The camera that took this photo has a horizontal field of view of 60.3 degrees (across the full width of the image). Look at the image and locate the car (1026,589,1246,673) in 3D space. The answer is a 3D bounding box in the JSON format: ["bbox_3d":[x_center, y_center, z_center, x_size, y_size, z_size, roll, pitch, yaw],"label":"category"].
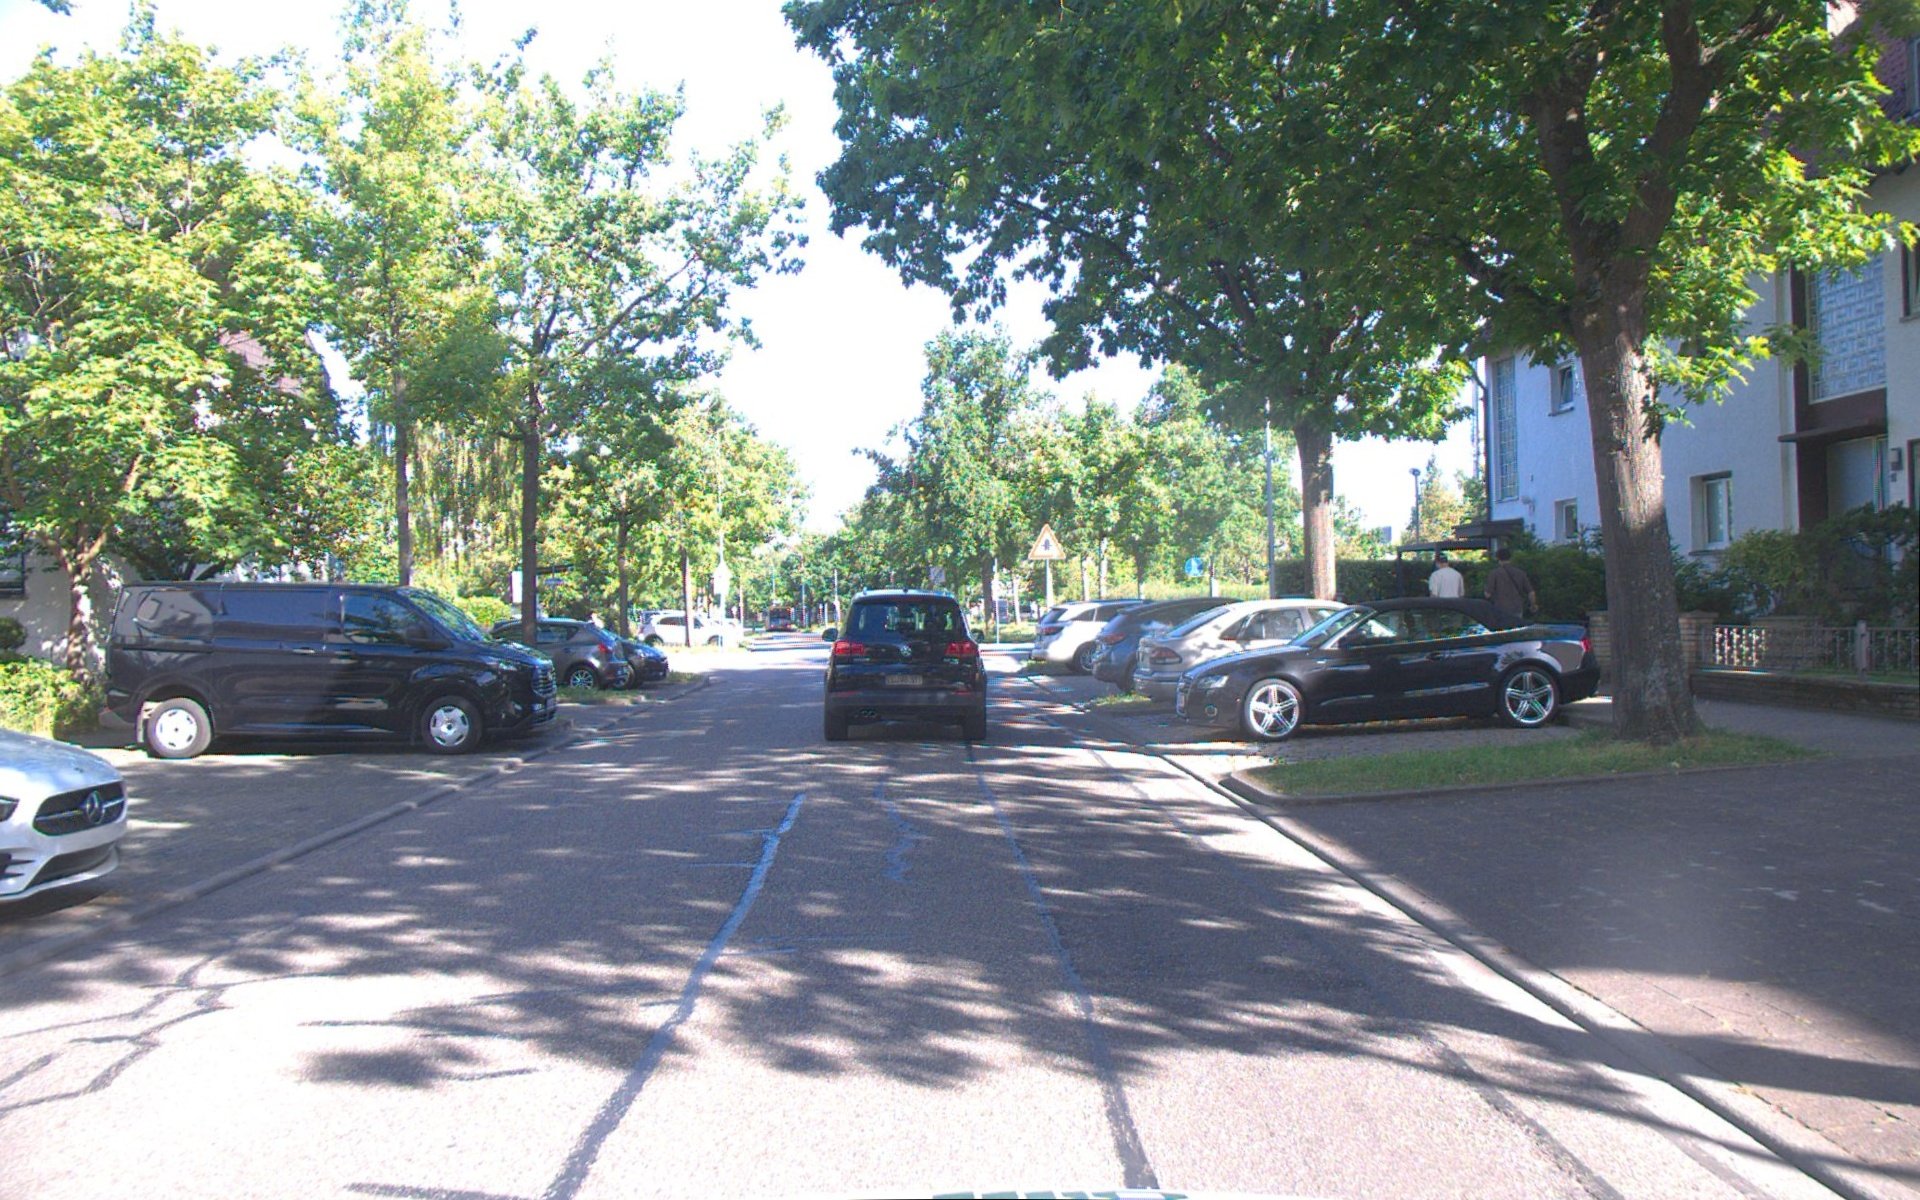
[{"bbox_3d":[3.622,0.635,34.521,4.338,1.517,1.796,-2,0,-1],"label":"car"}]

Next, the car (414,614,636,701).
[{"bbox_3d":[-8.231,1.068,31.513,3.743,1.444,1.771,-2,0,-3],"label":"car"}]

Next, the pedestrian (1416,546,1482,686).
[{"bbox_3d":[6.848,0.225,23.192,0.595,1.906,0.924,-2,-1,1],"label":"pedestrian"}]

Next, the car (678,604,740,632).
[{"bbox_3d":[-16.539,1.178,109.143,3.939,1.676,1.809,-2,0,-6],"label":"car"}]

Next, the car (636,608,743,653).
[{"bbox_3d":[-11.118,1.244,68.249,4.160,1.651,1.894,-2,0,-6],"label":"car"}]

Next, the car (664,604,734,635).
[{"bbox_3d":[-15.544,1.152,98.557,3.939,1.676,1.809,-2,0,-6],"label":"car"}]

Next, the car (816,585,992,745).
[{"bbox_3d":[-0.556,0.695,19.495,1.800,1.665,3.958,-1,0,2],"label":"car"}]

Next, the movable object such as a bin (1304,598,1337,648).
[{"bbox_3d":[7.999,0.508,36.699,0.523,1.063,0.699,-2,0,-3],"label":"movable object such as a bin"}]

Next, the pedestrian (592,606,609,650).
[{"bbox_3d":[-13.211,1.015,60.786,0.432,1.584,0.800,-2,0,-3],"label":"pedestrian"}]

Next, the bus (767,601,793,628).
[{"bbox_3d":[-21.437,1.703,197.471,2.872,3.056,5.730,-2,-1,-5],"label":"bus"}]

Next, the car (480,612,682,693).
[{"bbox_3d":[-7.870,1.084,34.596,3.779,1.484,1.713,-2,0,-1],"label":"car"}]

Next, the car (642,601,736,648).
[{"bbox_3d":[-11.998,1.072,73.416,3.939,1.872,1.894,-2,0,-6],"label":"car"}]

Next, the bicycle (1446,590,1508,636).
[{"bbox_3d":[12.710,0.311,40.661,1.654,1.072,0.526,-2,0,-34],"label":"bicycle"}]

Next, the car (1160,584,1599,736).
[{"bbox_3d":[4.467,0.628,18.063,4.258,1.386,1.873,-3,-1,-2],"label":"car"}]

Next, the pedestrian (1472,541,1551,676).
[{"bbox_3d":[7.802,0.120,23.420,0.818,1.860,0.710,-2,-1,0],"label":"pedestrian"}]

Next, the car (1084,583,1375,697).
[{"bbox_3d":[4.124,0.593,25.798,4.190,1.529,1.796,-2,0,-1],"label":"car"}]

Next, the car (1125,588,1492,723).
[{"bbox_3d":[4.296,0.662,20.838,4.190,1.439,1.796,-2,0,-1],"label":"car"}]

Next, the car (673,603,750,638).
[{"bbox_3d":[-13.303,1.075,88.610,3.939,1.676,1.809,-2,0,-6],"label":"car"}]

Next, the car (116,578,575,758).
[{"bbox_3d":[-7.142,0.754,19.660,4.683,1.950,2.017,-1,0,-3],"label":"car"}]

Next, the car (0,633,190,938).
[{"bbox_3d":[-6.807,0.969,9.217,4.189,1.504,1.768,0,0,-1],"label":"car"}]
